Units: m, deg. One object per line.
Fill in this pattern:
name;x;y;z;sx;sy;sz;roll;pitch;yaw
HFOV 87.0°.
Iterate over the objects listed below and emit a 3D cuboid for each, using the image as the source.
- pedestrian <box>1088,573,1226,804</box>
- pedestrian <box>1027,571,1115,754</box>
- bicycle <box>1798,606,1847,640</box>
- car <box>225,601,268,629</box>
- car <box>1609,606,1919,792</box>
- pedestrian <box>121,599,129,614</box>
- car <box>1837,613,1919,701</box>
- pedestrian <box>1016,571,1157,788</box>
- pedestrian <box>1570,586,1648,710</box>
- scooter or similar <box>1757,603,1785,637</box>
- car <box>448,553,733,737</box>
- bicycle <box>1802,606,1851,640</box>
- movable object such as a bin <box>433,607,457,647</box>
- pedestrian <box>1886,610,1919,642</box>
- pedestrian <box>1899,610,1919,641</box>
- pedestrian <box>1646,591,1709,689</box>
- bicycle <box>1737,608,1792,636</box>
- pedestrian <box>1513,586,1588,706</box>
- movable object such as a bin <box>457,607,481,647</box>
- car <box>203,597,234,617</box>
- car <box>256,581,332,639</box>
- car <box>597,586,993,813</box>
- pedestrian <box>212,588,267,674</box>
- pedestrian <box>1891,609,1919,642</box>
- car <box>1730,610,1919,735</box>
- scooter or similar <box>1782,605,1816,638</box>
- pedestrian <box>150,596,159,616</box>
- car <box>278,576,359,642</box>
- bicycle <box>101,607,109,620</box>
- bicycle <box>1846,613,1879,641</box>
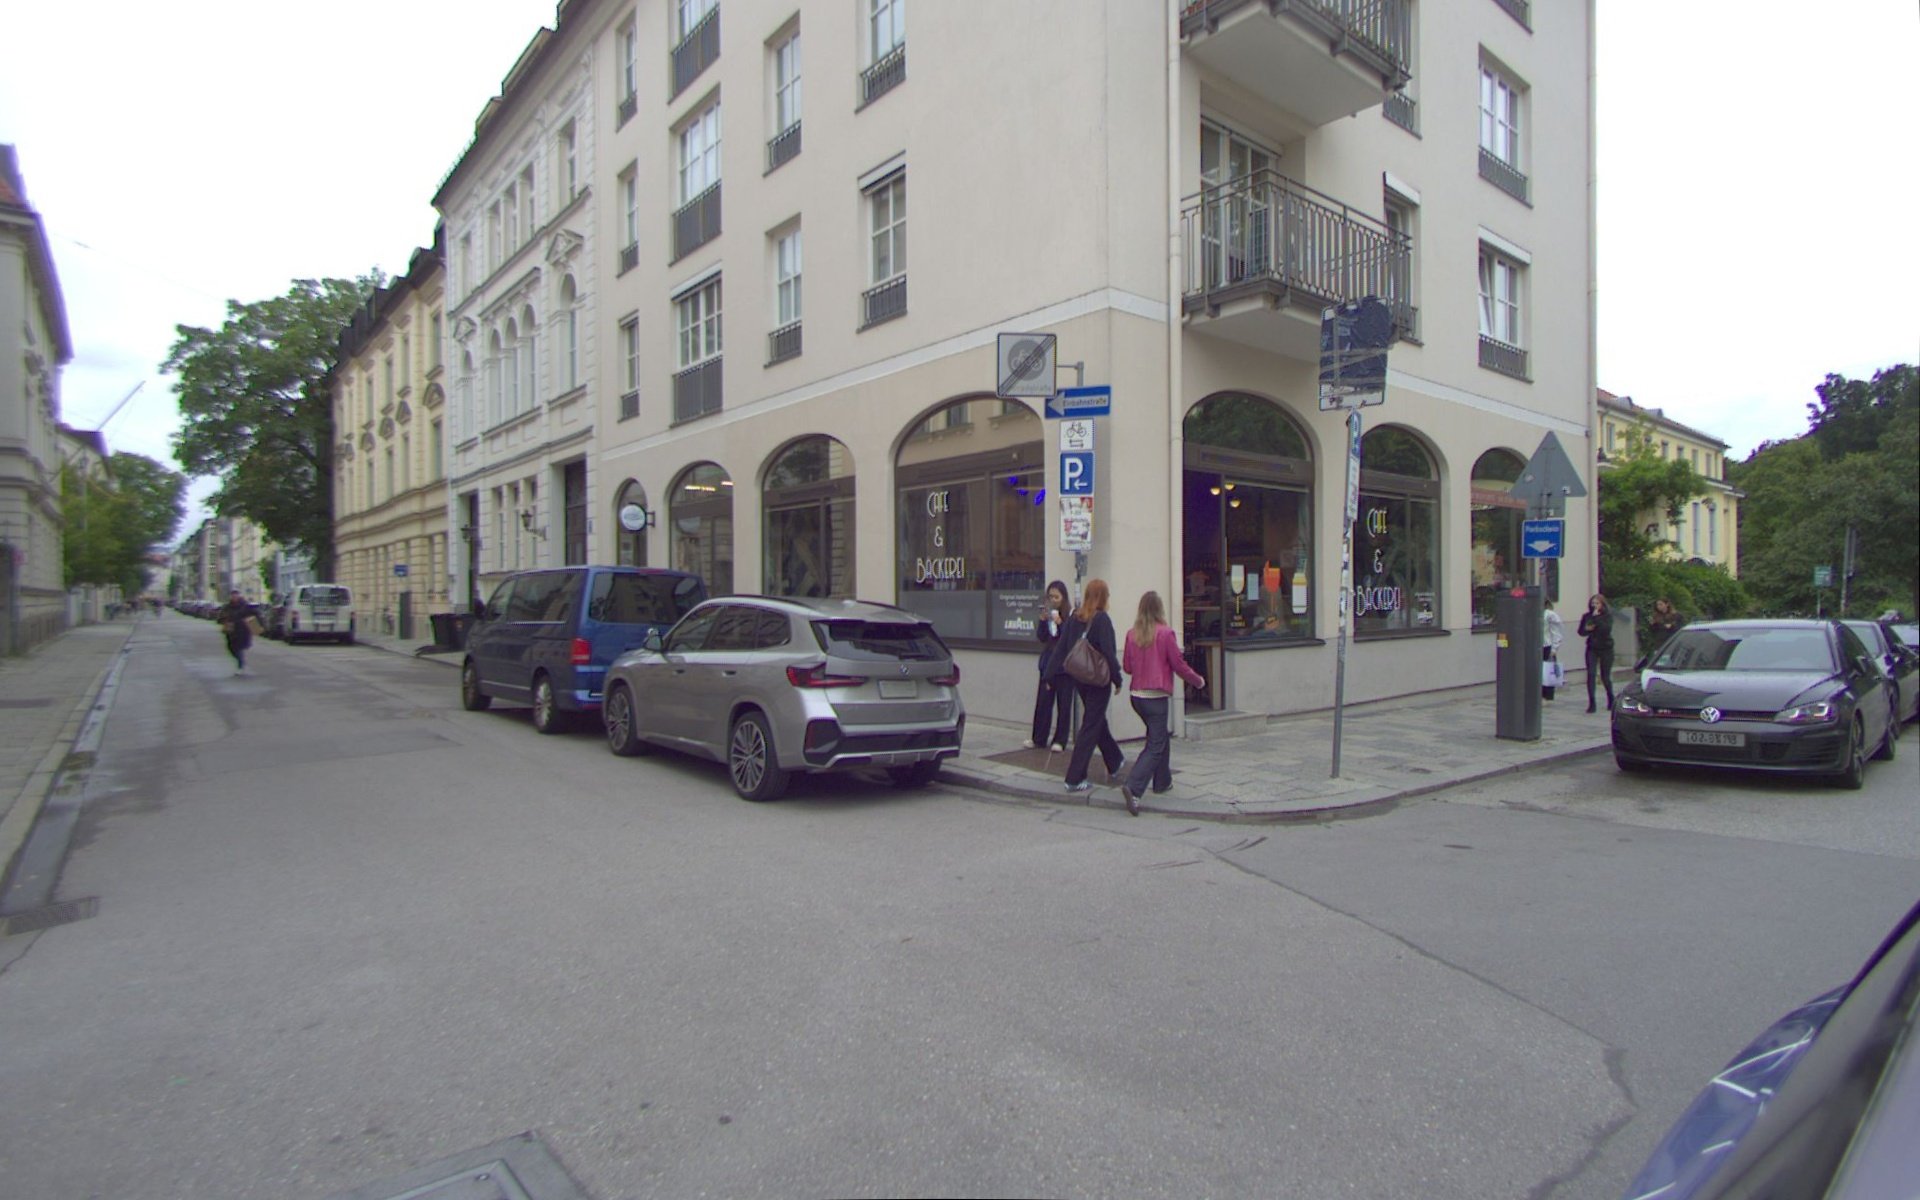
pedestrian;1.517;0.623;7.747;1.051;1.645;0.473;-2;1;-40
pedestrian;1.059;0.568;9.638;0.634;1.667;0.519;0;1;43
bicycle;33.572;0.894;39.381;1.624;1.206;0.202;3;0;2
car;-41.069;0.856;58.200;1.639;1.434;3.785;4;-2;-40
car;7.973;0.815;9.883;4.131;1.443;1.677;1;-3;-42
pedestrian;-79.107;0.633;95.909;0.538;1.451;0.470;-1;1;-40
car;17.409;0.953;18.156;4.573;1.429;1.806;0;-1;-40
pedestrian;1.038;0.593;8.268;0.962;1.640;0.660;-1;1;-40
pedestrian;9.204;0.647;14.347;0.865;1.682;0.706;-1;1;-41
scooter or similar;31.281;0.771;39.037;1.362;1.264;0.397;2;-1;-31
car;-4.901;0.502;13.023;1.940;1.941;4.448;4;-2;-40
bicycle;33.553;0.887;39.184;1.624;1.213;0.169;3;0;2
movable object such as a bin;-14.010;0.728;27.511;0.557;1.036;0.573;-1;1;-27
pedestrian;38.314;1.043;40.935;1.211;1.264;0.630;-1;-4;41
pedestrian;39.458;1.051;41.811;0.883;1.251;0.542;-1;-4;40
pedestrian;12.554;0.674;17.700;0.865;1.643;0.706;-1;1;-41
bicycle;31.674;0.863;39.867;1.639;1.006;0.246;3;0;28
pedestrian;8.702;0.649;14.914;0.865;1.682;0.706;-1;1;-41
movable object such as a bin;-13.336;0.729;27.479;0.557;1.036;0.573;-1;1;-27
car;-57.879;0.571;78.987;1.638;1.434;3.786;4;-2;-39
car;-25.128;0.345;38.140;1.793;2.012;4.338;4;-2;-40
car;-1.723;0.717;9.375;1.724;1.626;4.096;2;-1;-40
pedestrian;-14.417;0.600;20.264;0.801;1.648;0.873;-1;1;-31
pedestrian;38.955;1.037;41.414;1.172;1.310;0.630;-1;-4;40
car;12.053;0.879;13.724;4.430;1.443;1.648;1;-3;-41
scooter or similar;31.849;0.805;38.425;0.317;1.228;1.118;1;0;-3
pedestrian;-68.690;0.504;86.308;0.582;1.732;0.585;-1;1;-39
car;-21.506;0.296;33.856;2.037;2.012;4.345;4;-2;-34
bicycle;-66.586;1.053;78.809;0.384;0.975;1.541;1;-3;-36
bicycle;35.521;1.053;39.833;1.620;1.051;0.308;3;0;-25
